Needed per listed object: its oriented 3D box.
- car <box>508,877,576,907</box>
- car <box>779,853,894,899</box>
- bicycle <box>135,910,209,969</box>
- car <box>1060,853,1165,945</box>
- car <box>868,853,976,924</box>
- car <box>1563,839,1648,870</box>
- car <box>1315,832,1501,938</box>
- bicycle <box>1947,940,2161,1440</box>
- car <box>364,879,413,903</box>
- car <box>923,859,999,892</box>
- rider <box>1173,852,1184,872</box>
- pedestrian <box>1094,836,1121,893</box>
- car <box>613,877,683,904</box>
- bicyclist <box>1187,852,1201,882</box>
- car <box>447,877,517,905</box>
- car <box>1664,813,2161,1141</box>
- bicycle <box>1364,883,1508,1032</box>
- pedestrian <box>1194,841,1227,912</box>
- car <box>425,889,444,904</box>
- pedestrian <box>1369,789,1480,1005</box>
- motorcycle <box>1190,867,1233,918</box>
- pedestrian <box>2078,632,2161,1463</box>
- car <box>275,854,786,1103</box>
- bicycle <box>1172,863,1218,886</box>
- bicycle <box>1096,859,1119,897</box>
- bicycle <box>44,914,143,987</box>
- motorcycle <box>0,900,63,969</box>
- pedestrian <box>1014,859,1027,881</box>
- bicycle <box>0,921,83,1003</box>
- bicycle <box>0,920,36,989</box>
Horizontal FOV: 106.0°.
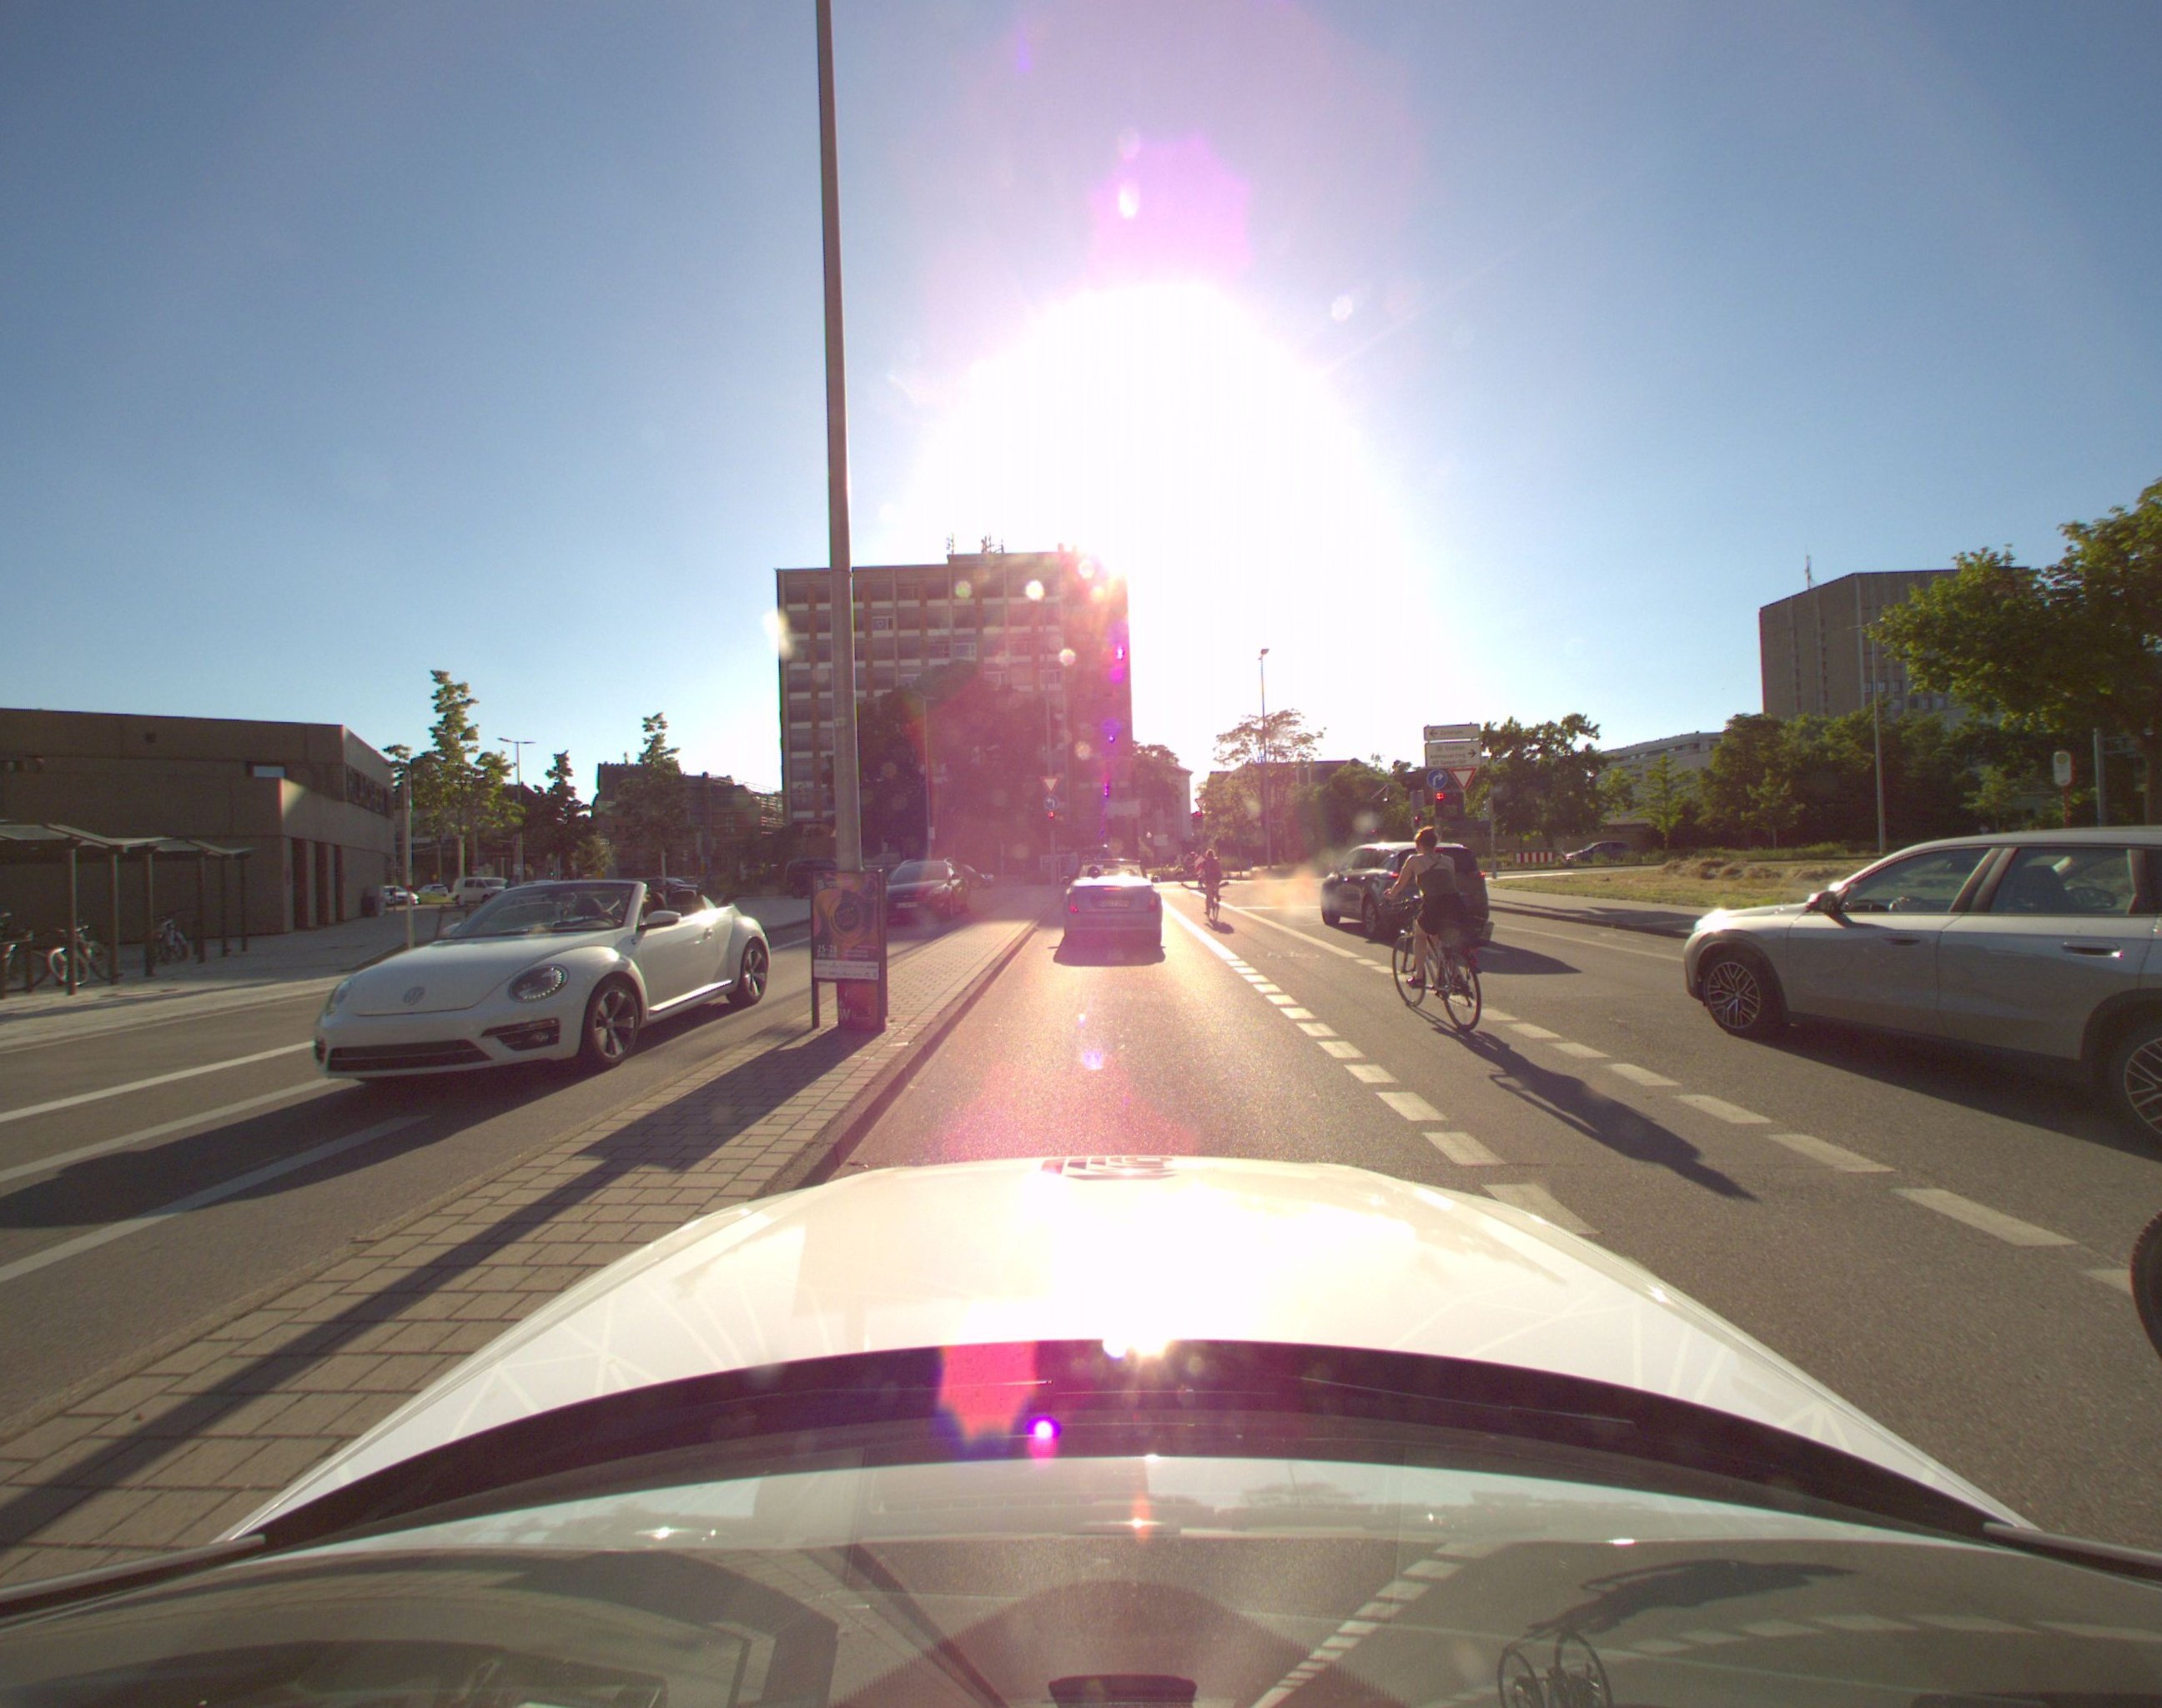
[{"bbox_3d":[-30.351,2.136,45.813,3.554,1.560,1.655,-2,0,28],"label":"car"},{"bbox_3d":[-11.594,1.051,38.502,5.102,1.894,2.261,-3,0,30],"label":"car"},{"bbox_3d":[-19.482,1.799,17.490,0.611,1.115,1.876,1,-2,-35],"label":"bicycle"},{"bbox_3d":[0.494,0.758,15.046,1.655,1.441,4.153,0,-1,0],"label":"car"},{"bbox_3d":[-3.880,0.785,20.553,1.793,1.530,4.000,-3,0,1],"label":"car"},{"bbox_3d":[29.349,0.025,45.633,3.615,1.560,1.655,-2,0,10],"label":"car"},{"bbox_3d":[5.854,0.539,15.203,1.824,1.689,4.370,0,-1,2],"label":"car"},{"bbox_3d":[2.853,0.828,1.289,0.551,1.171,2.375,-1,-1,4],"label":"bicycle"},{"bbox_3d":[-48.659,2.609,57.244,3.553,1.560,1.661,-2,0,33],"label":"car"},{"bbox_3d":[-6.358,1.128,43.315,3.615,1.560,1.655,-2,0,11],"label":"car"},{"bbox_3d":[7.721,0.614,64.436,0.746,1.598,0.591,-1,-1,13],"label":"rider"},{"bbox_3d":[0.885,0.352,26.892,0.829,1.869,0.922,-1,-1,5],"label":"pedestrian"},{"bbox_3d":[-27.681,2.336,52.130,3.570,1.560,1.653,-2,0,6],"label":"car"},{"bbox_3d":[5.985,0.699,43.159,0.747,1.598,0.591,-1,-1,7],"label":"bicyclist"},{"bbox_3d":[-42.485,2.627,57.759,4.417,1.857,1.804,-2,0,20],"label":"car"},{"bbox_3d":[6.132,0.609,5.139,1.781,1.594,4.328,0,-1,0],"label":"car"},{"bbox_3d":[3.167,0.862,7.468,0.561,1.151,1.951,-1,-1,4],"label":"bicycle"},{"bbox_3d":[2.963,0.515,18.719,0.586,1.598,1.025,0,-1,0],"label":"pedestrian"},{"bbox_3d":[-75.026,4.889,94.469,1.658,1.560,3.558,-2,0,-39],"label":"car"},{"bbox_3d":[3.140,0.381,7.524,0.656,1.869,0.873,0,-1,3],"label":"pedestrian"},{"bbox_3d":[2.972,0.862,18.770,0.611,1.098,2.360,0,-1,0],"label":"motorcycle"},{"bbox_3d":[2.809,0.428,1.467,0.803,1.869,0.957,-1,-1,3],"label":"pedestrian"},{"bbox_3d":[-4.340,0.820,7.346,1.793,1.530,4.000,-3,0,0],"label":"car"},{"bbox_3d":[6.056,1.072,43.139,2.393,1.192,0.611,-1,-1,7],"label":"bicycle"},{"bbox_3d":[0.897,0.786,26.889,0.605,1.191,2.418,-1,-1,5],"label":"bicycle"},{"bbox_3d":[-17.555,1.683,14.530,0.611,1.115,1.876,1,-2,-35],"label":"bicycle"},{"bbox_3d":[-23.175,1.734,17.729,0.772,1.390,1.876,1,-2,-36],"label":"motorcycle"},{"bbox_3d":[-4.996,1.327,67.221,0.864,1.869,0.663,-1,-1,12],"label":"pedestrian"},{"bbox_3d":[-16.598,1.663,12.811,0.611,1.115,1.876,1,-2,-35],"label":"bicycle"},{"bbox_3d":[-18.692,1.732,13.823,0.611,1.115,1.876,1,-2,-35],"label":"bicycle"}]
